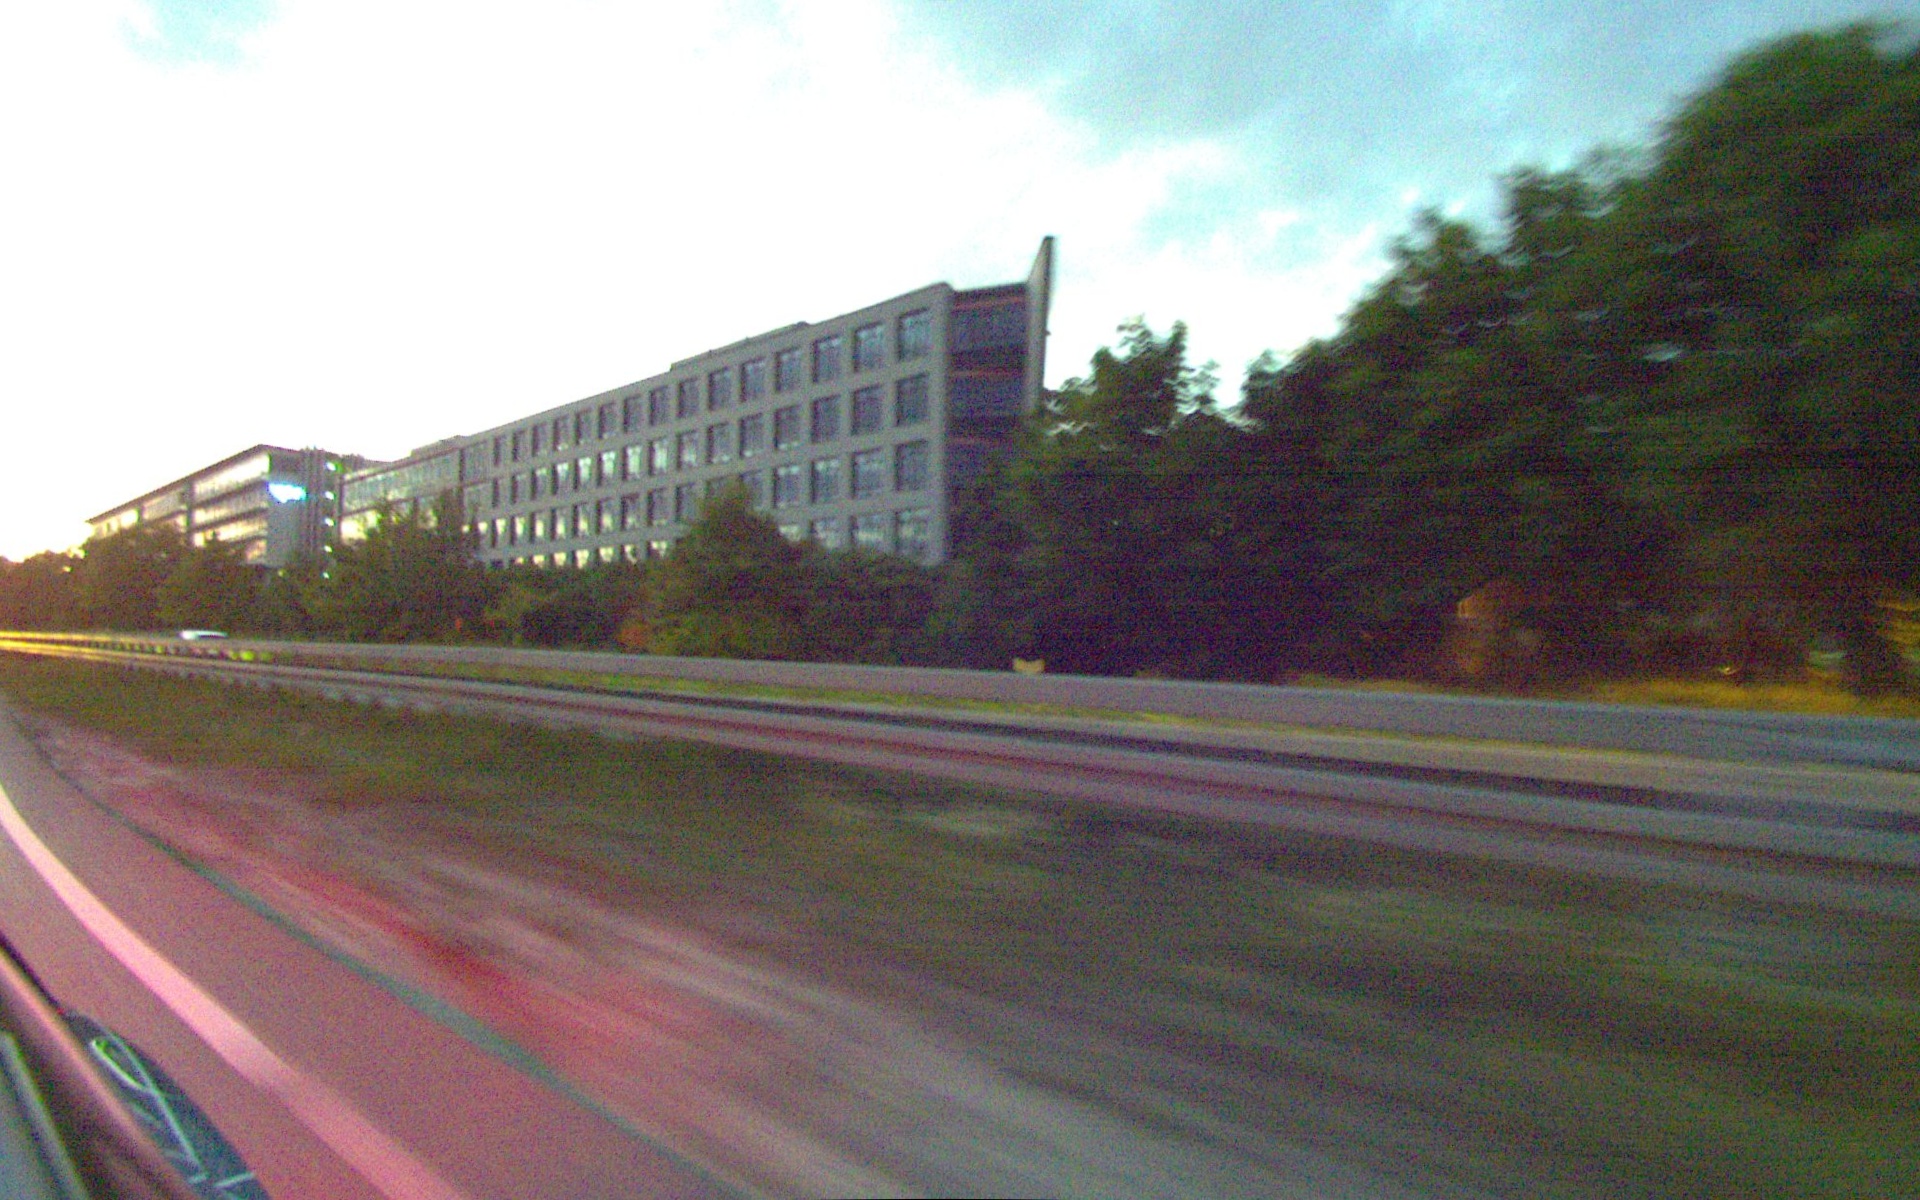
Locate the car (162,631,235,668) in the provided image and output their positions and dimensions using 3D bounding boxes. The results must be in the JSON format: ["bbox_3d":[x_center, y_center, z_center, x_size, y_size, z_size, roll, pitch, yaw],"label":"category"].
[{"bbox_3d":[-36.516,2.353,48.465,4.657,1.654,1.752,-2,-3,40],"label":"car"}]
